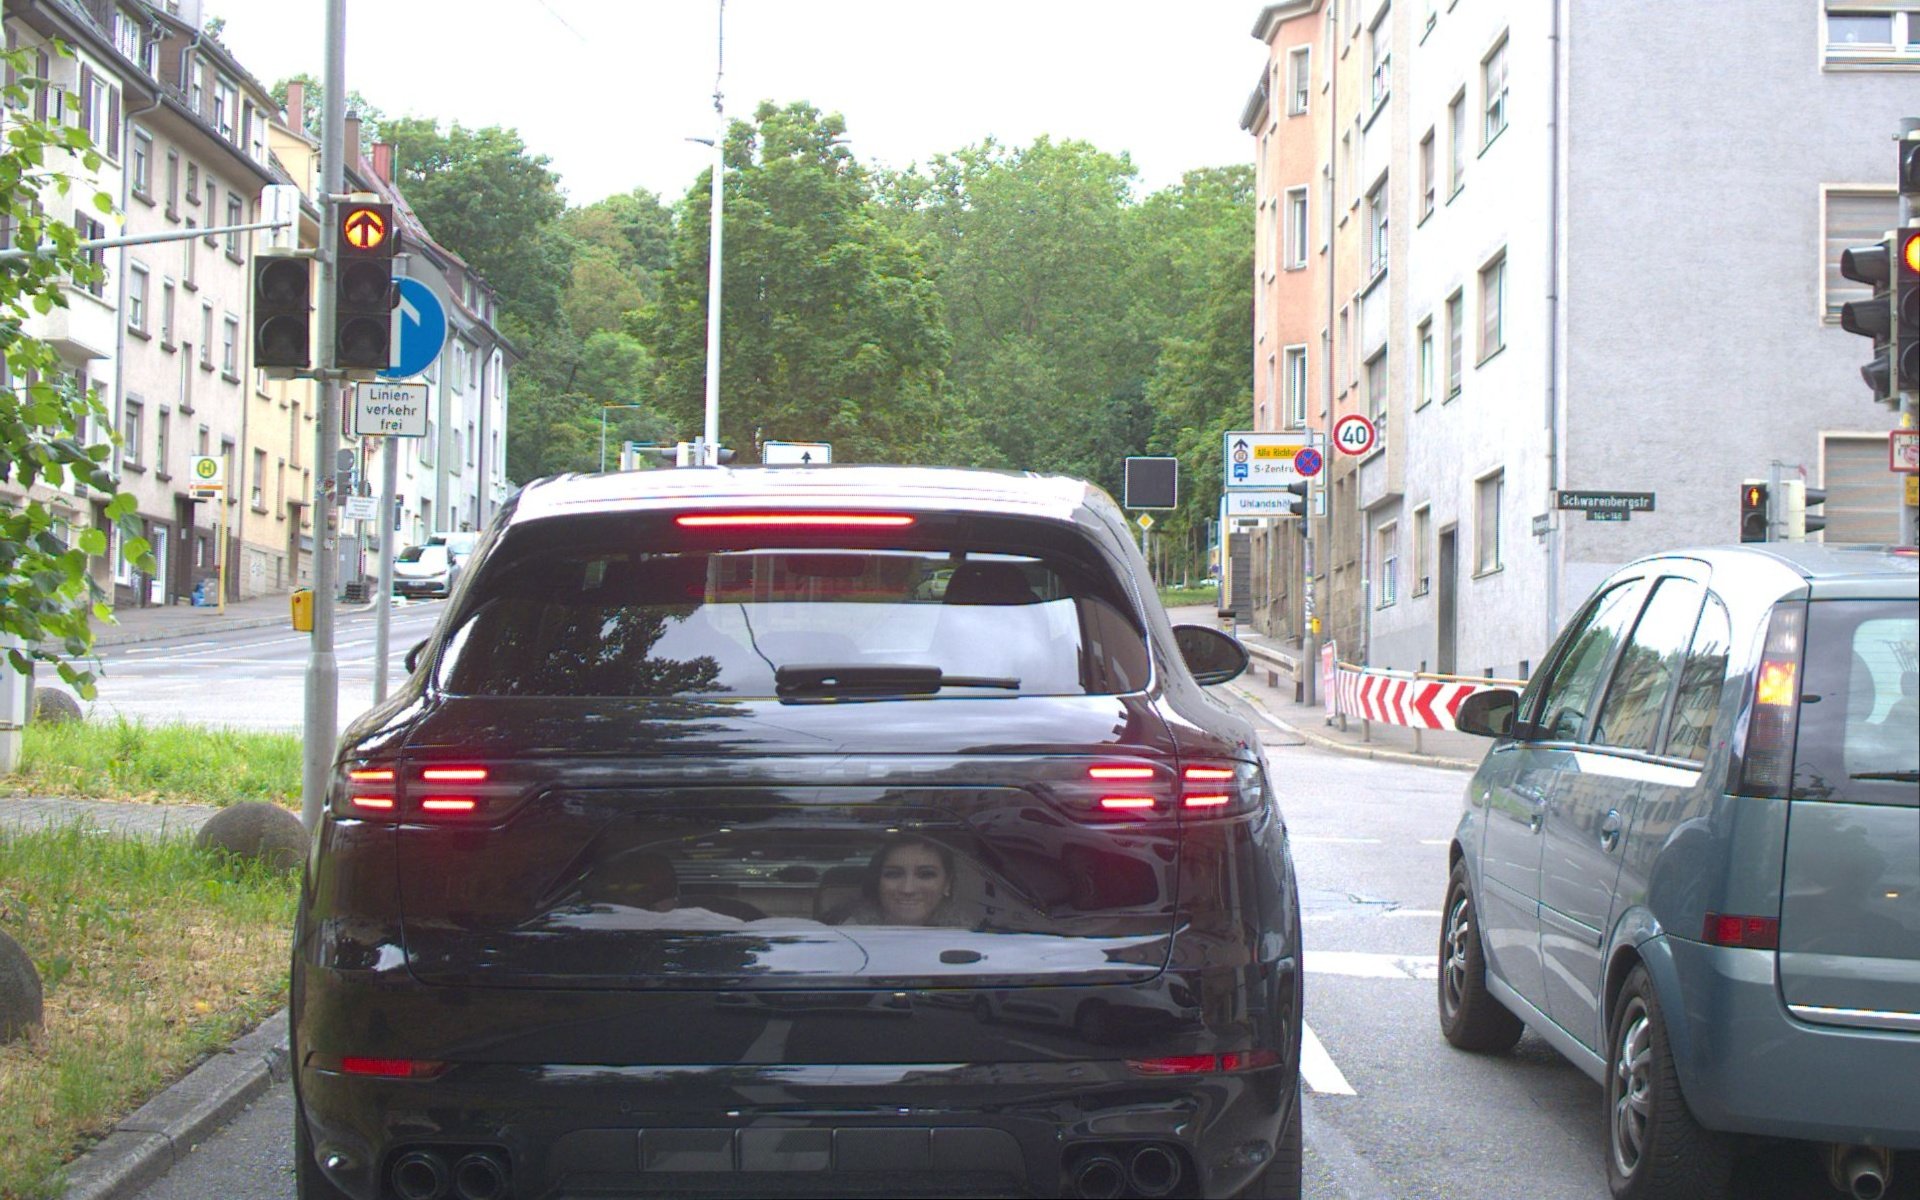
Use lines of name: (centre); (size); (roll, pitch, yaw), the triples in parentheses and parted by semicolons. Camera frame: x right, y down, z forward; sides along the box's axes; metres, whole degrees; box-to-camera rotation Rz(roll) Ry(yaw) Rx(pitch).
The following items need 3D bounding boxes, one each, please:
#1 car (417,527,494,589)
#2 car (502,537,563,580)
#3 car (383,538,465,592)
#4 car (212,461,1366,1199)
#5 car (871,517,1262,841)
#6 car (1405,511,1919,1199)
car: (-15.344, -1.290, 104.711); (1.794, 1.804, 4.000); (1, 1, -1)
car: (-15.653, -1.531, 126.096); (1.794, 1.505, 4.000); (1, 1, -1)
car: (-15.532, -1.036, 99.690); (1.794, 1.505, 4.000); (1, 1, -1)
car: (-0.266, 0.541, 7.952); (1.994, 1.647, 4.000); (0, 1, 1)
car: (0.582, 0.394, 19.615); (1.994, 1.647, 4.000); (0, 0, 1)
car: (2.356, 0.647, 9.029); (1.752, 1.588, 3.630); (4, 1, -1)
